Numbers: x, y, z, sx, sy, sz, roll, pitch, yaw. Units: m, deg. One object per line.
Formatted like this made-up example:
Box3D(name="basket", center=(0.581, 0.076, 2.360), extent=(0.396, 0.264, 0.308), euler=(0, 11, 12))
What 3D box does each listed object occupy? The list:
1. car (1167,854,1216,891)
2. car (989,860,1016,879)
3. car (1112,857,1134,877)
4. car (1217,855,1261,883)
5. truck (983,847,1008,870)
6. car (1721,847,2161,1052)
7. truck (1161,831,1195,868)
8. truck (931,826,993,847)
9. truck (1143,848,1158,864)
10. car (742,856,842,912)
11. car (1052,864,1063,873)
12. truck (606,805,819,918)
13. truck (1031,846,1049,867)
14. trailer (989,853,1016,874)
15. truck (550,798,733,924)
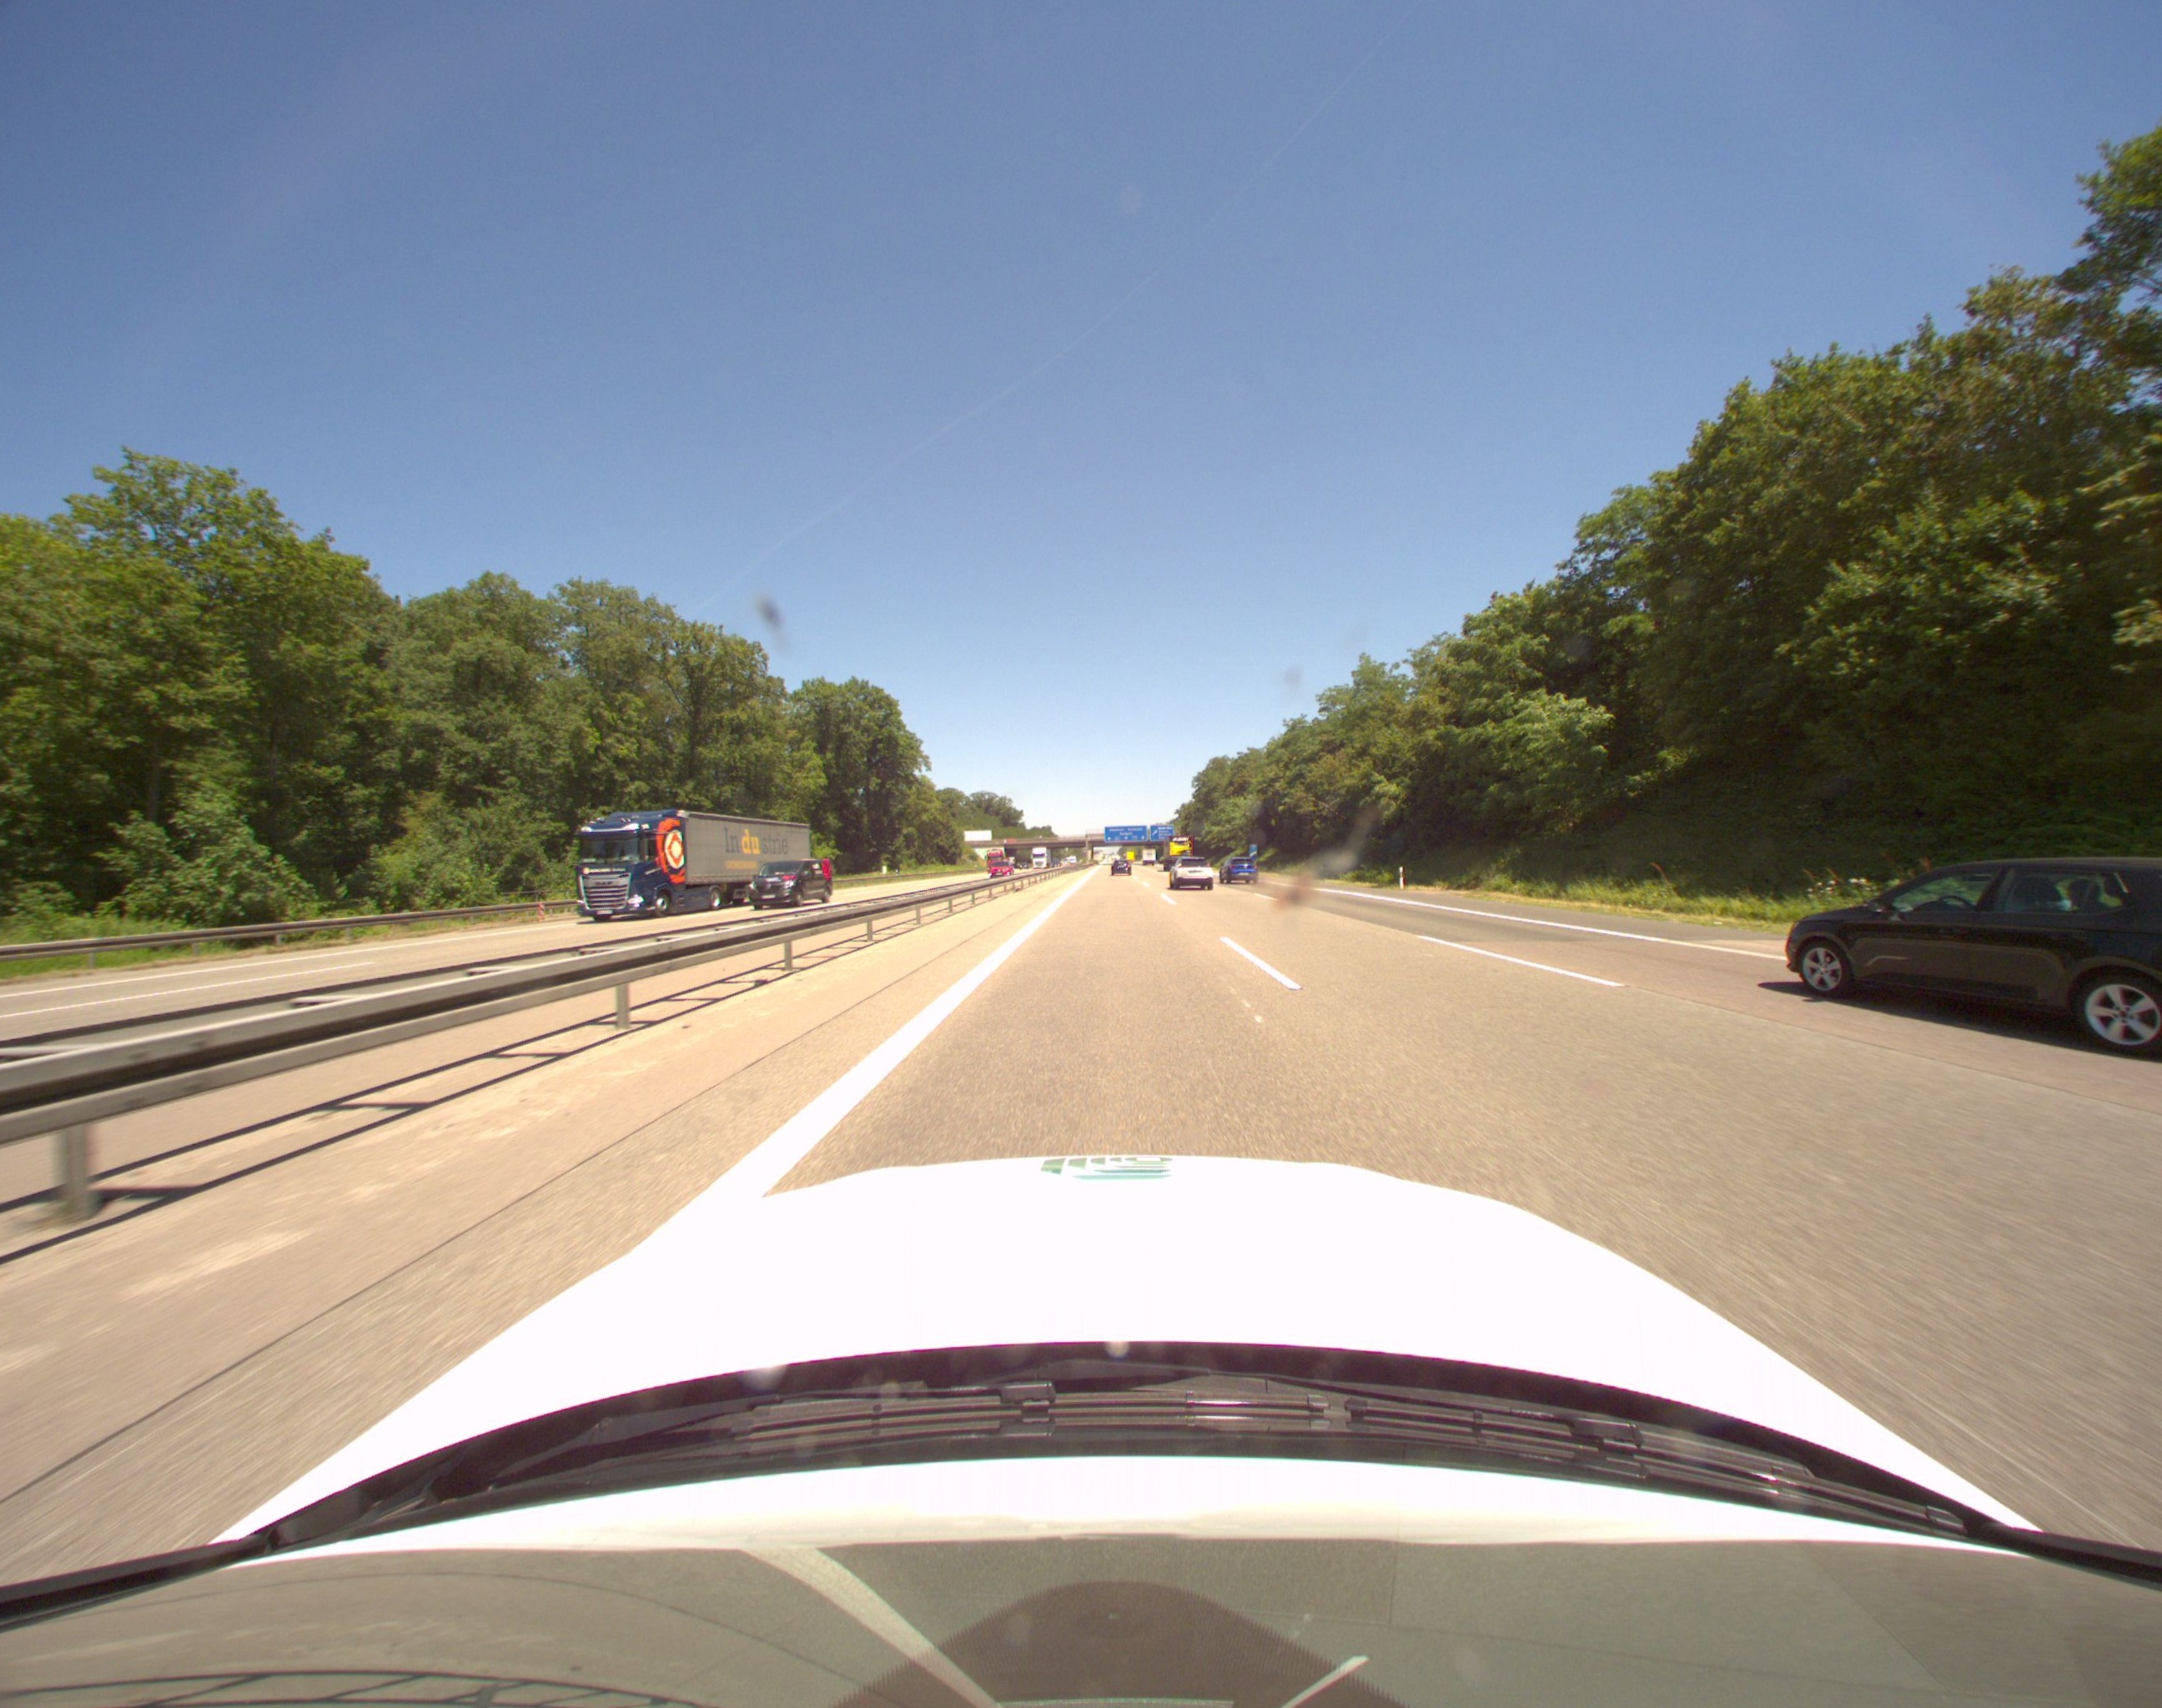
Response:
Box3D(name="car", center=(5.243, 0.863, 39.115), extent=(1.820, 1.608, 4.810), euler=(-1, -1, 2))
Box3D(name="car", center=(-6.879, 1.339, 71.844), extent=(1.724, 1.585, 4.647), euler=(0, -1, 3))
Box3D(name="car", center=(3.711, 1.174, 72.274), extent=(1.820, 1.706, 4.001), euler=(0, -1, 2))
Box3D(name="car", center=(9.186, 0.860, 47.662), extent=(1.863, 1.556, 4.203), euler=(0, -1, 2))
Box3D(name="truck", center=(-13.383, 0.749, 127.976), extent=(2.738, 3.394, 7.665), euler=(0, -1, 2))
Box3D(name="car", center=(8.515, 0.690, 7.559), extent=(1.663, 1.447, 4.575), euler=(0, -1, 2))
Box3D(name="truck", center=(11.102, -0.417, 93.822), extent=(2.964, 4.037, 10.985), euler=(1, -1, 2))
Box3D(name="truck", center=(-32.044, -4.630, 219.480), extent=(16.438, 5.566, 3.168), euler=(0, -1, -6))
Box3D(name="truck", center=(14.855, 0.519, 173.820), extent=(3.013, 3.319, 10.788), euler=(0, -1, 6))
Box3D(name="car", center=(-11.883, 1.189, 33.919), extent=(1.986, 2.013, 5.361), euler=(-4, -1, 2))
Box3D(name="car", center=(-4.250, 2.568, 147.777), extent=(1.800, 1.591, 4.671), euler=(0, -1, 2))
Box3D(name="truck", center=(-16.418, 0.355, 38.313), extent=(3.311, 4.342, 13.914), euler=(0, -1, 2))
Box3D(name="truck", center=(-7.966, 0.560, 160.335), extent=(2.975, 4.019, 6.044), euler=(0, -1, 2))
Box3D(name="trailer", center=(-13.008, 1.594, 136.716), extent=(2.768, 3.394, 13.296), euler=(0, -1, 2))
Box3D(name="truck", center=(-16.590, 0.272, 31.459), extent=(3.311, 4.342, 6.615), euler=(0, -1, 1))
